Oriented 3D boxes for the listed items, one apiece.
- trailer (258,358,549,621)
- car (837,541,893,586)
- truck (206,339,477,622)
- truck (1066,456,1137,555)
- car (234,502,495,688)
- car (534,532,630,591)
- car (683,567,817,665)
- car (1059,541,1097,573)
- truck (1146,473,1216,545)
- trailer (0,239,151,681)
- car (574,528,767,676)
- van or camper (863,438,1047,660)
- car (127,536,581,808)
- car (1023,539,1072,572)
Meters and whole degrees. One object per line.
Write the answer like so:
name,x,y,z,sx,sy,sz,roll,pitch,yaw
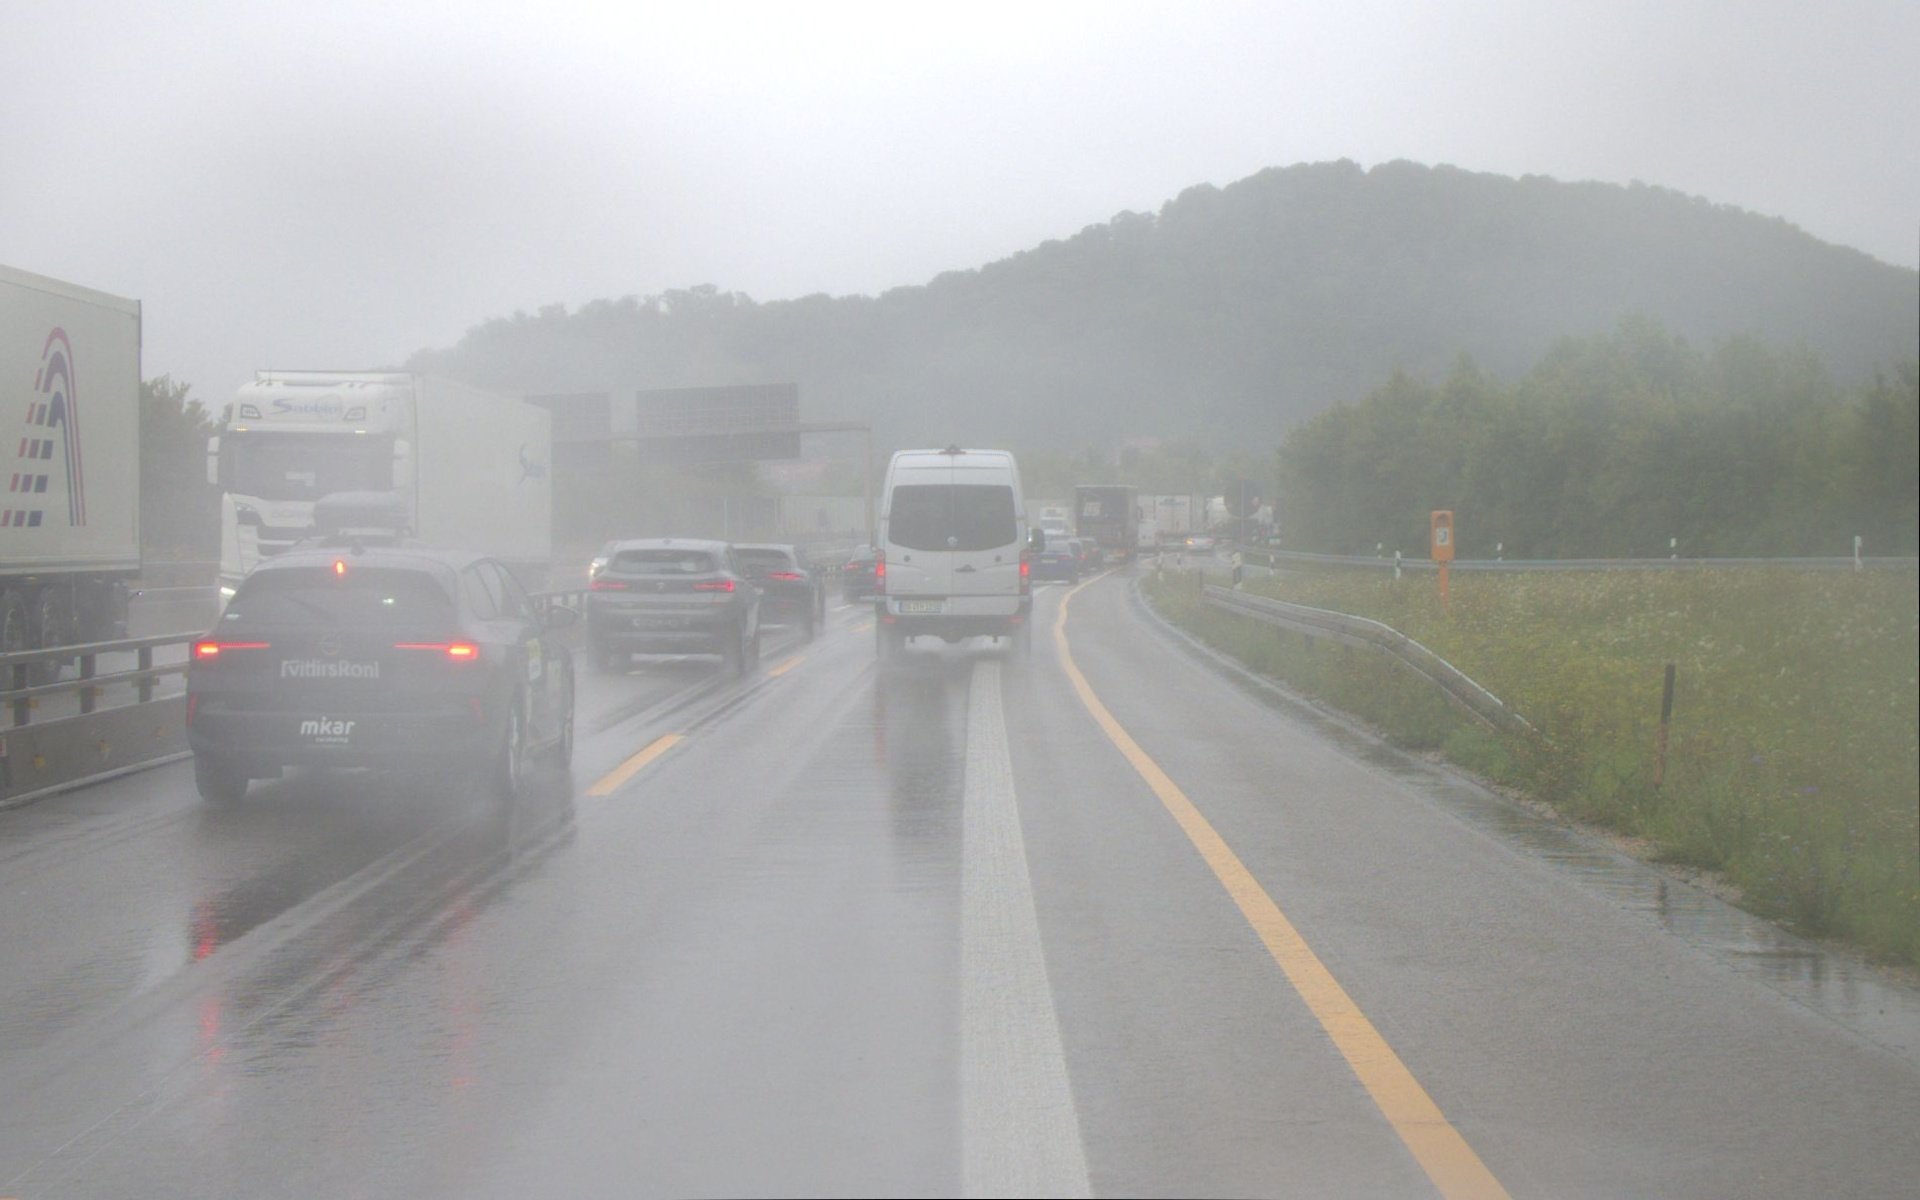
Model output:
trailer,-9.382,-1.883,59.560,2.907,4.075,12.220,0,2,1
car,-2.306,-0.888,83.671,1.262,1.074,3.254,0,1,0
truck,-9.456,-1.823,53.311,2.883,4.087,6.926,0,1,1
truck,7.263,-4.733,175.011,3.321,4.768,9.906,1,1,4
car,-6.357,-0.110,37.175,1.993,1.878,4.433,0,2,1
car,-9.804,-1.000,89.366,1.993,1.500,4.296,0,1,0
car,-3.348,0.235,55.451,1.852,1.495,4.000,0,1,1
car,4.643,-1.699,135.422,1.384,1.252,3.123,0,1,0
truck,15.410,-6.265,238.979,3.930,4.768,9.903,1,1,8
trailer,-10.019,-1.251,30.757,2.494,4.035,12.588,0,2,0
car,-3.363,-0.012,40.577,1.867,1.653,3.988,0,1,1
van or camper,-0.125,-0.658,44.566,2.139,2.712,4.649,0,1,-3
car,-3.488,0.350,20.672,1.939,1.422,4.760,1,1,-1
car,2.890,-1.462,113.571,1.384,1.074,3.123,0,1,-3
